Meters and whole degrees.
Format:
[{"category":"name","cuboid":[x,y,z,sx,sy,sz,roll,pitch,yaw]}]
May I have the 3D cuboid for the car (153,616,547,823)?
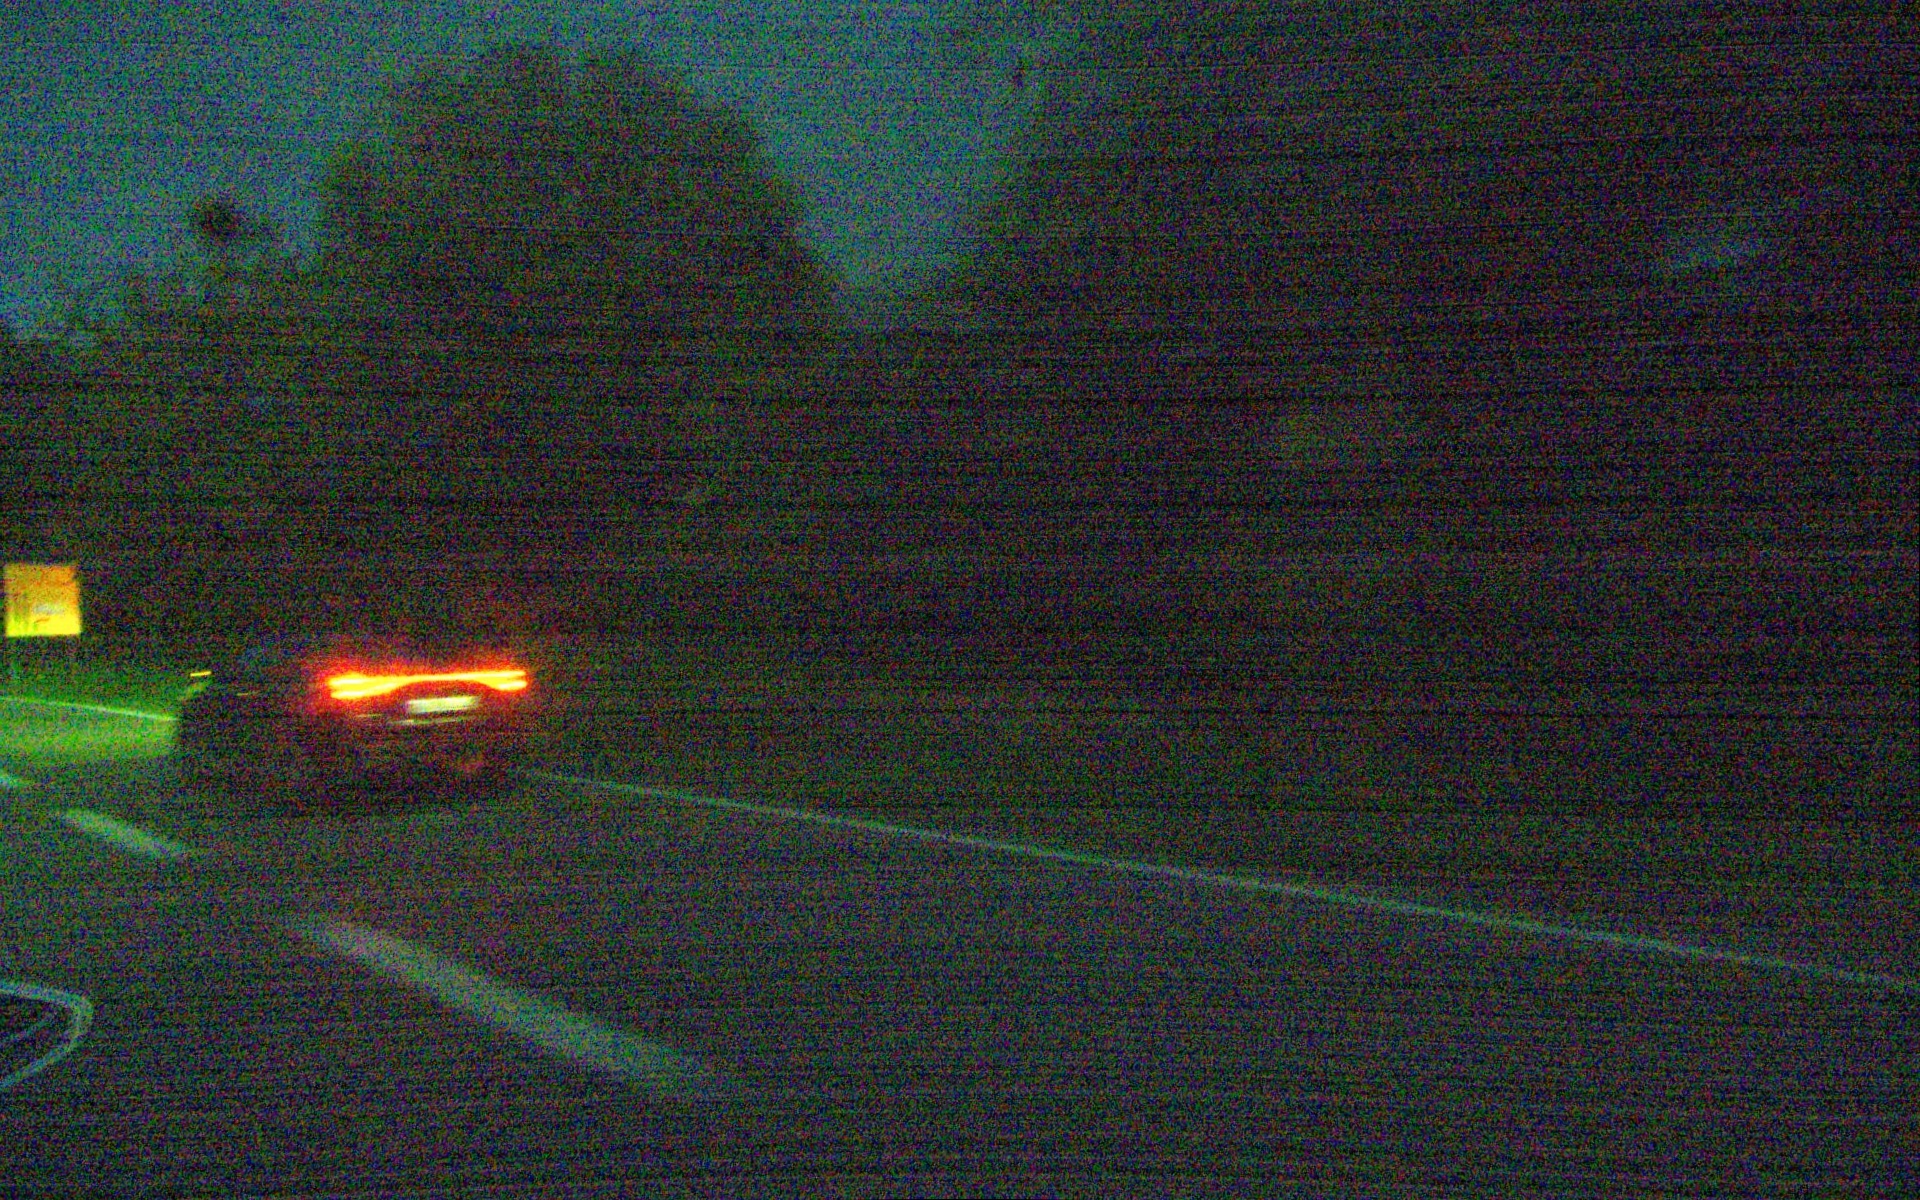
[{"category":"car","cuboid":[-6.279,1.036,10.105,4.499,1.640,1.894,-2,-2,37]}]
